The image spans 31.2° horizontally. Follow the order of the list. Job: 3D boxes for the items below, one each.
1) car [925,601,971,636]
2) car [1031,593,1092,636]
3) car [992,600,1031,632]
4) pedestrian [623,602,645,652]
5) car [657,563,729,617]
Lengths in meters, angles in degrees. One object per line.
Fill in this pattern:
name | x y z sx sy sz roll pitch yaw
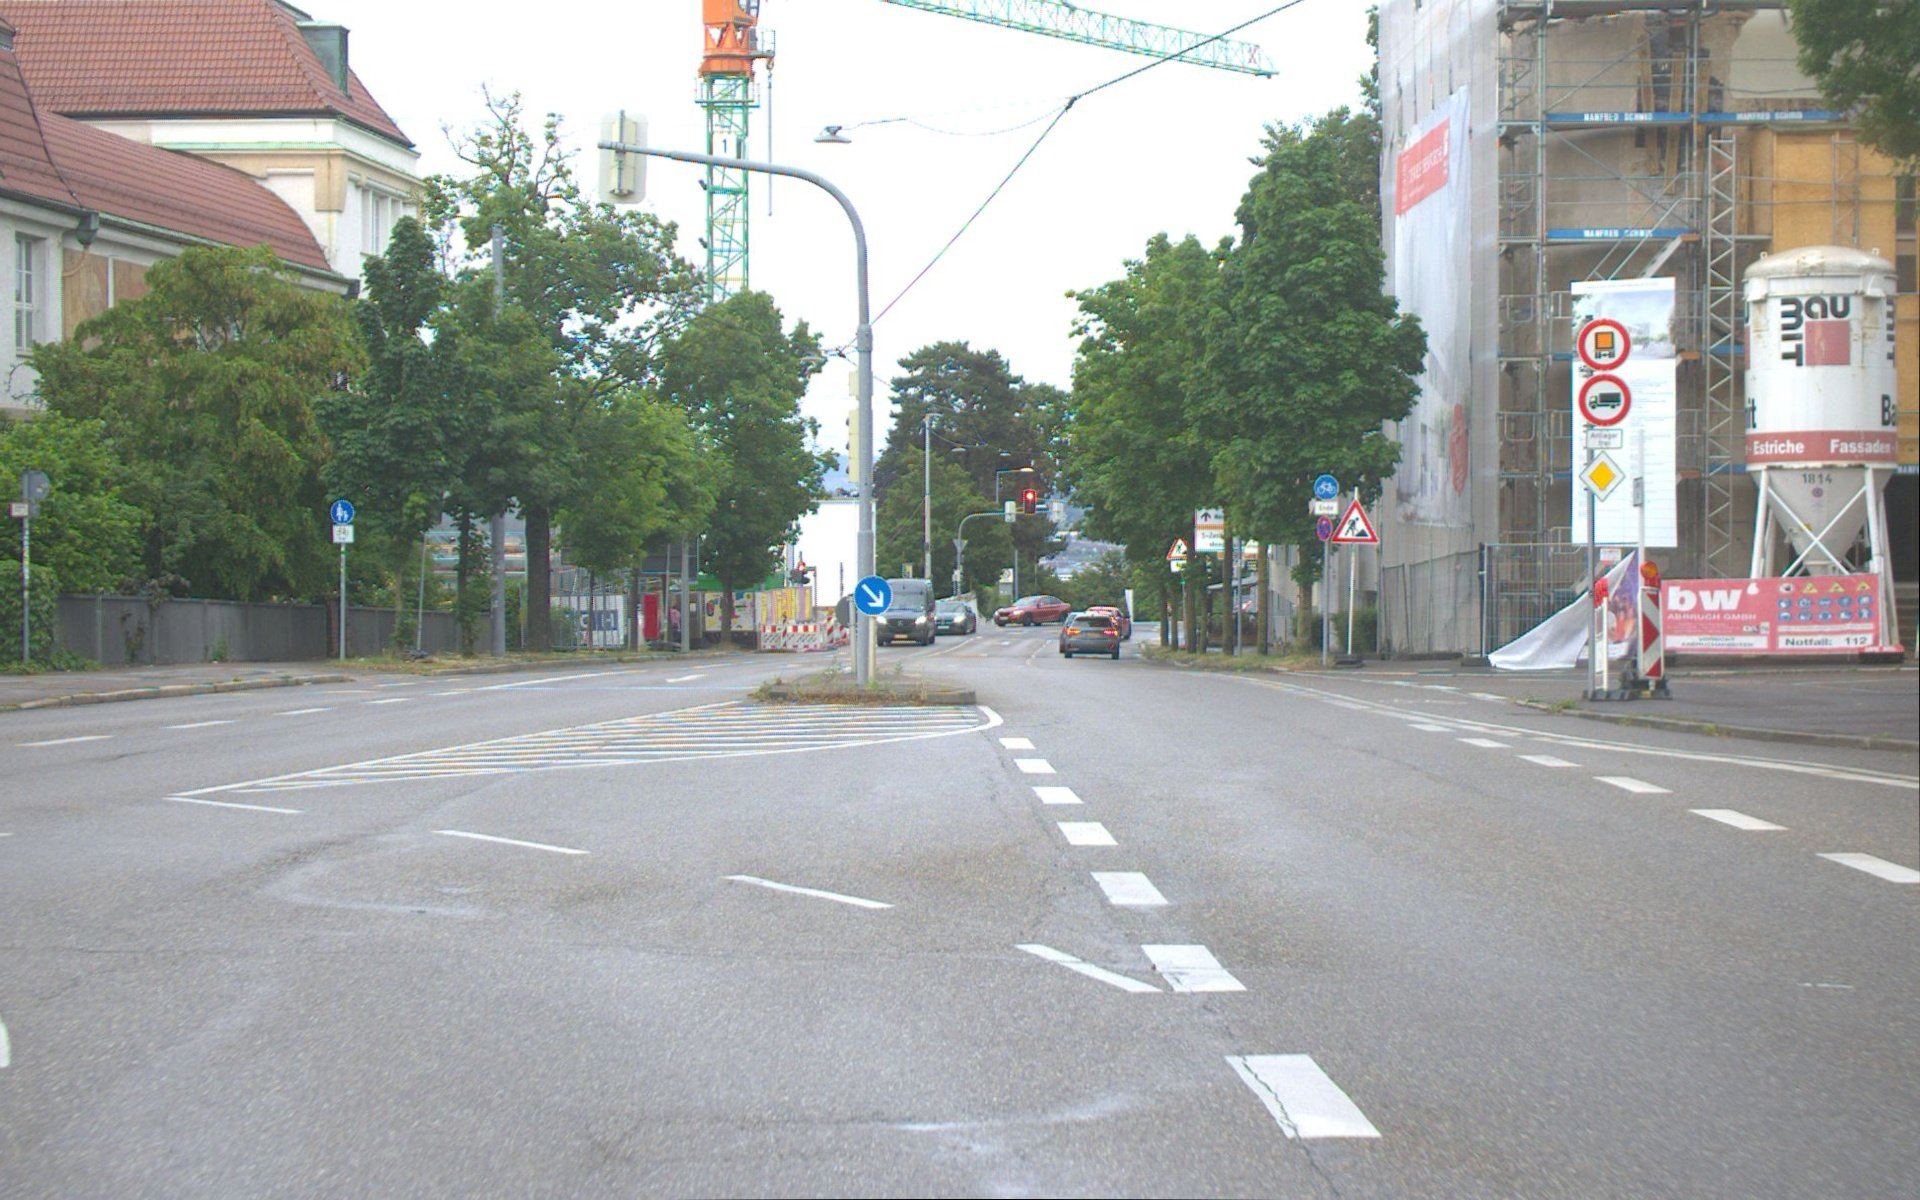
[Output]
car | -0.534 0.812 150.856 1.576 1.456 3.536 1 1 7
car | 3.566 0.504 120.685 1.776 1.434 3.870 1 1 7
car | 2.444 0.768 163.098 1.501 1.443 3.480 1 1 7
pedestrian | -9.306 0.769 98.077 0.540 1.436 0.450 -1 1 -16
car | -10.199 -0.390 131.498 1.994 2.007 3.999 1 1 7
